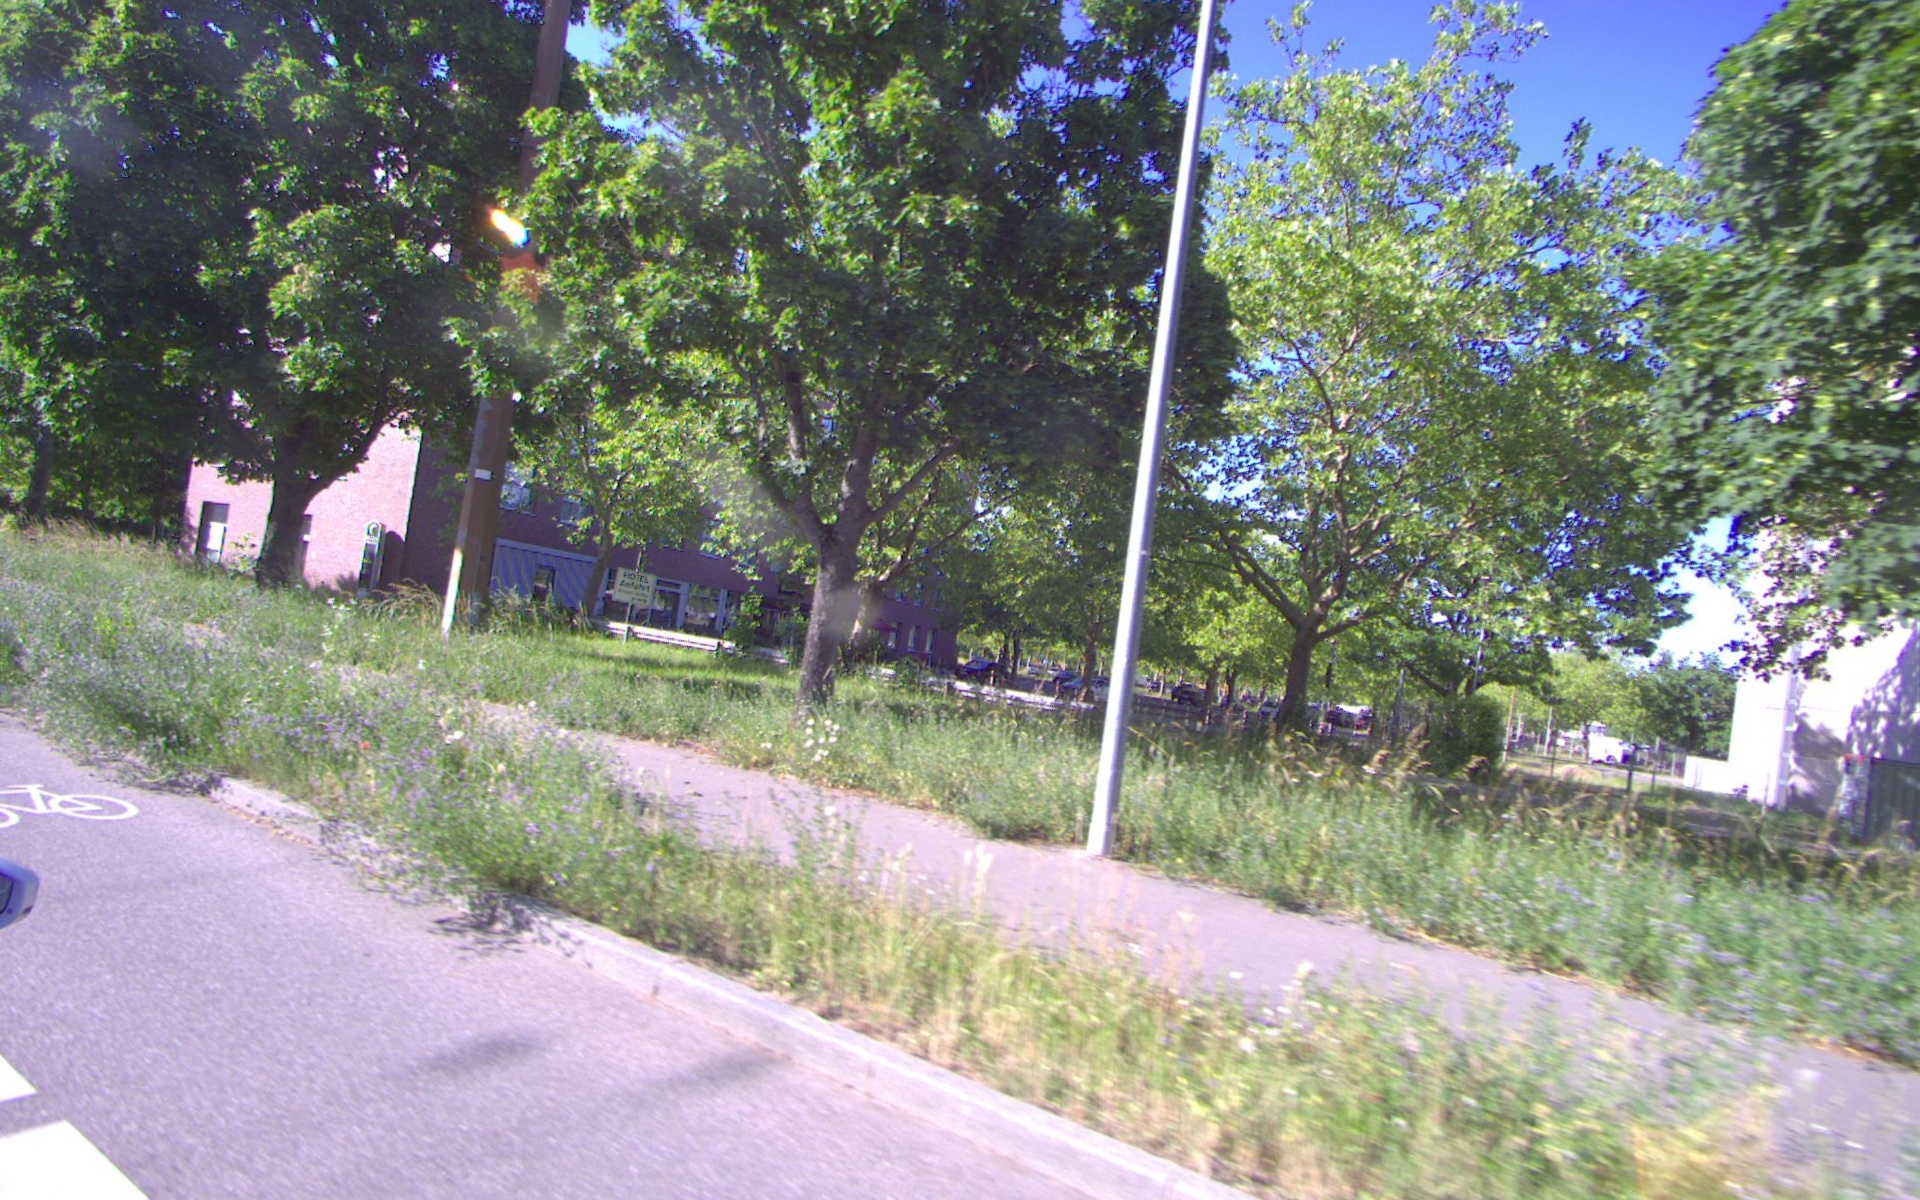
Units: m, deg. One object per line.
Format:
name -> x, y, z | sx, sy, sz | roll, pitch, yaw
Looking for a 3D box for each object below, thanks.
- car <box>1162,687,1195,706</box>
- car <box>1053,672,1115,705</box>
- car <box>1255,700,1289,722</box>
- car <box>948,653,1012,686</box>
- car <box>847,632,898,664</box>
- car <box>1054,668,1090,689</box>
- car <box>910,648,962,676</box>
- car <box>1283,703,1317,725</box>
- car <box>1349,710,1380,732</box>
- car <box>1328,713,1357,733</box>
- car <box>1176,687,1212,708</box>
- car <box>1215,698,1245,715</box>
car -> 22.155, 9.814, 101.910 | 1.843, 1.507, 3.995 | 7, -4, 34
car -> 7.269, 5.175, 58.586 | 1.801, 1.414, 4.525 | 7, -4, 30
car -> 26.854, 9.546, 86.608 | 1.801, 1.478, 4.231 | 7, -4, 30
car -> 1.295, 4.365, 62.753 | 1.846, 1.507, 3.990 | 6, -4, 38
car -> -6.374, 3.574, 74.085 | 1.839, 1.848, 4.004 | 7, -3, 24
car -> 10.747, 7.544, 96.398 | 1.801, 1.478, 4.231 | 7, -4, 30
car -> -1.706, 4.515, 73.058 | 1.841, 1.507, 4.001 | 7, -3, 28
car -> 28.805, 9.651, 85.218 | 1.708, 1.507, 3.997 | 7, -4, 33
car -> 39.716, 11.894, 98.753 | 1.803, 1.692, 4.226 | 6, -4, 35
car -> 35.921, 11.543, 94.333 | 1.801, 1.478, 4.231 | 7, -4, 30
car -> 20.873, 8.699, 89.677 | 1.801, 1.478, 4.231 | 7, -4, 30
car -> 26.902, 10.603, 100.173 | 1.801, 1.304, 4.231 | 7, -4, 30
